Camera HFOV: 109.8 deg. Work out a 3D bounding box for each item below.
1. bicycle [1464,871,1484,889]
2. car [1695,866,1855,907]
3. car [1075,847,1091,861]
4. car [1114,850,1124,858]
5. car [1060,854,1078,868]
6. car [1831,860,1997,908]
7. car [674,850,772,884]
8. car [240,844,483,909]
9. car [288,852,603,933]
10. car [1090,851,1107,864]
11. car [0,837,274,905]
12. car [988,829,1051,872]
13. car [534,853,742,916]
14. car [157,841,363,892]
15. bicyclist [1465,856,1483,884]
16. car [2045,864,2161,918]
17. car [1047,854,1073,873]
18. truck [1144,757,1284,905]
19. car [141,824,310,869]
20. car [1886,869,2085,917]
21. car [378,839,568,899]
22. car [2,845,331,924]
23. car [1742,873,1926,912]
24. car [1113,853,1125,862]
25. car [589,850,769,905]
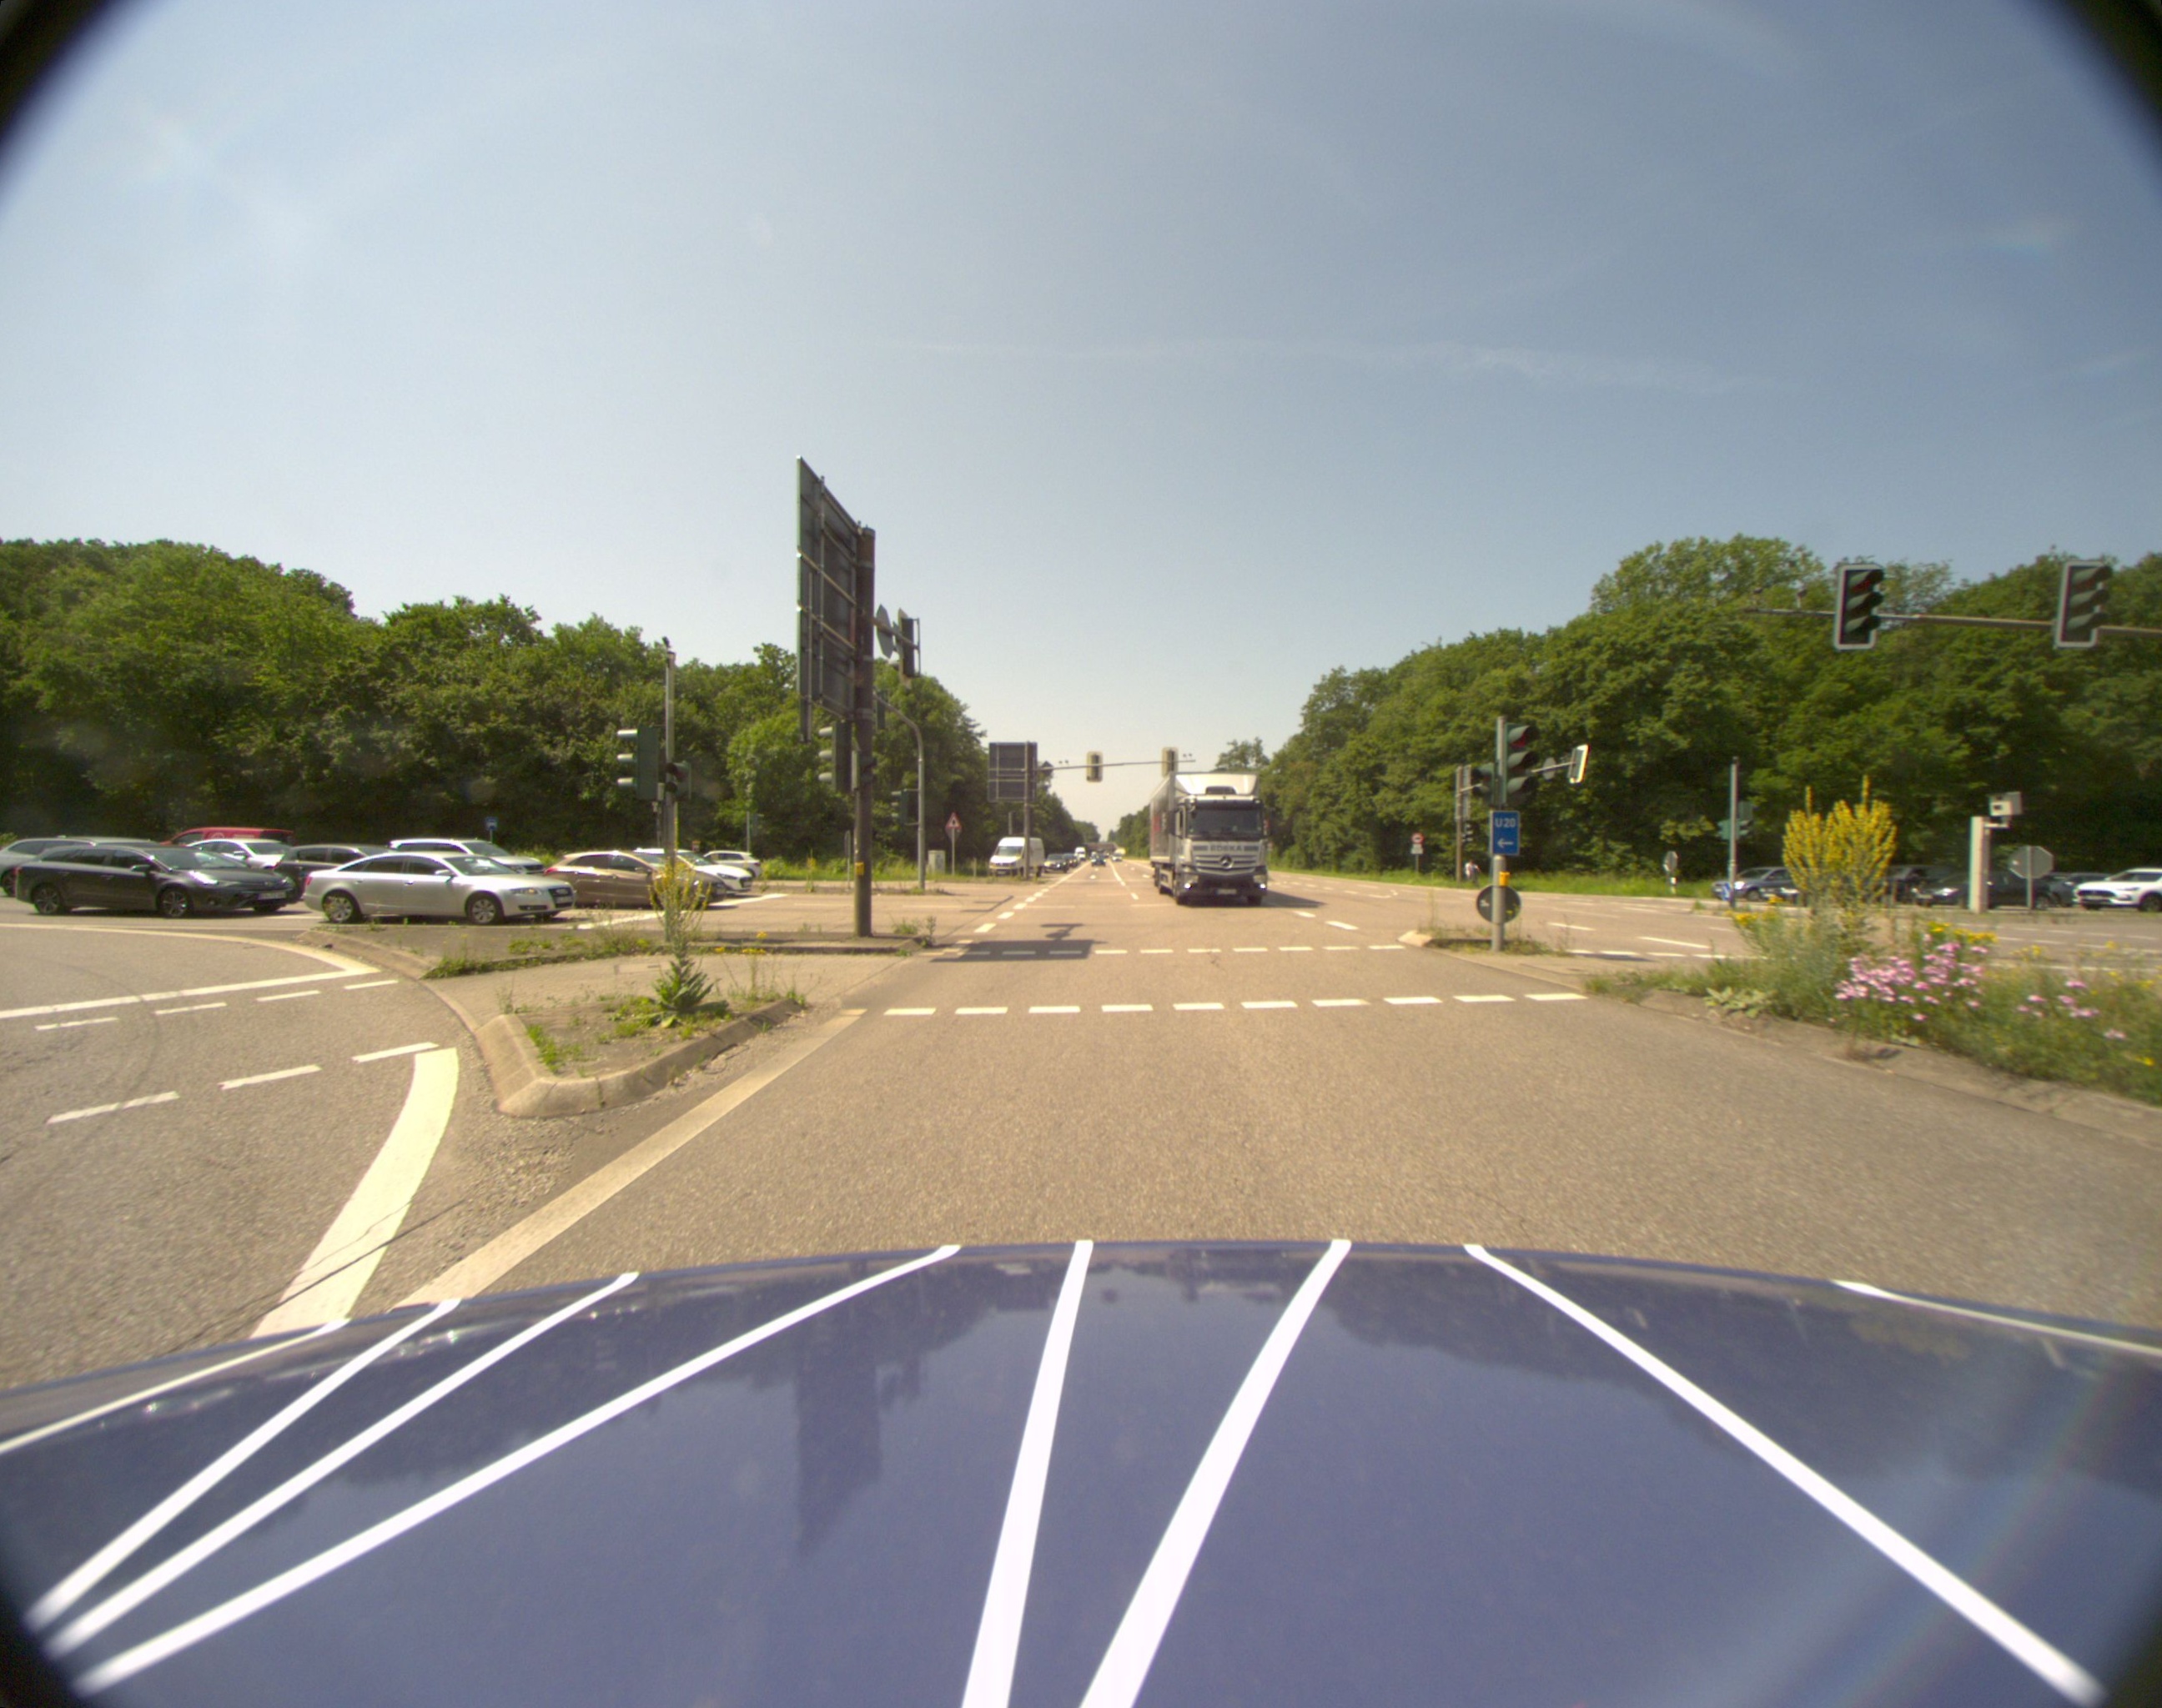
[{"bbox_3d":[21.362,1.422,41.323,0.566,0.918,1.606,1,0,11],"label":"bicycle"},{"bbox_3d":[29.777,1.379,32.728,4.816,1.558,2.130,1,0,1],"label":"car"},{"bbox_3d":[0.370,-0.023,149.016,2.673,2.685,6.331,1,0,3],"label":"car"},{"bbox_3d":[8.414,-0.002,166.920,1.998,1.867,4.000,1,0,1],"label":"car"},{"bbox_3d":[-1.285,0.778,82.726,1.796,1.431,4.228,0,0,0],"label":"car"},{"bbox_3d":[35.630,1.251,32.604,4.817,1.887,2.000,1,0,1],"label":"car"},{"bbox_3d":[-16.536,0.586,35.224,4.005,1.427,1.692,-2,0,-25],"label":"car"},{"bbox_3d":[-18.874,0.542,20.101,4.430,1.526,2.122,1,1,1],"label":"car"},{"bbox_3d":[-13.059,0.749,15.840,4.943,1.490,2.020,1,1,2],"label":"car"},{"bbox_3d":[2.047,0.409,91.637,1.992,1.575,4.364,0,0,0],"label":"car"},{"bbox_3d":[-24.416,0.396,19.541,5.141,1.525,2.138,1,1,2],"label":"car"},{"bbox_3d":[-3.908,-0.194,49.399,1.972,2.629,6.067,-1,0,16],"label":"car"},{"bbox_3d":[-11.168,0.746,19.377,4.102,1.438,1.995,1,0,0],"label":"car"},{"bbox_3d":[-25.240,0.350,23.478,4.341,1.406,1.974,2,1,2],"label":"car"},{"bbox_3d":[21.374,0.859,41.318,0.660,1.456,0.811,1,1,11],"label":"bicyclist"},{"bbox_3d":[40.294,1.401,28.747,4.816,1.884,2.066,1,0,2],"label":"car"},{"bbox_3d":[-1.682,0.745,62.190,1.796,1.452,4.229,-1,0,3],"label":"car"},{"bbox_3d":[3.965,-0.614,25.596,2.753,3.862,11.320,-1,0,0],"label":"truck"},{"bbox_3d":[-35.314,-0.287,31.479,4.497,1.812,1.796,0,-1,-9],"label":"car"},{"bbox_3d":[34.128,1.440,28.807,4.815,1.626,2.001,1,0,5],"label":"car"},{"bbox_3d":[-18.414,0.438,23.154,4.182,1.649,2.000,1,0,2],"label":"car"},{"bbox_3d":[-19.537,0.598,16.410,4.628,1.490,2.112,1,1,2],"label":"car"},{"bbox_3d":[28.503,1.430,28.907,4.816,1.283,2.106,1,0,2],"label":"car"},{"bbox_3d":[6.877,0.684,138.744,1.998,1.543,4.000,1,0,1],"label":"car"},{"bbox_3d":[-12.197,0.677,23.259,4.430,1.526,2.000,1,0,0],"label":"car"}]
